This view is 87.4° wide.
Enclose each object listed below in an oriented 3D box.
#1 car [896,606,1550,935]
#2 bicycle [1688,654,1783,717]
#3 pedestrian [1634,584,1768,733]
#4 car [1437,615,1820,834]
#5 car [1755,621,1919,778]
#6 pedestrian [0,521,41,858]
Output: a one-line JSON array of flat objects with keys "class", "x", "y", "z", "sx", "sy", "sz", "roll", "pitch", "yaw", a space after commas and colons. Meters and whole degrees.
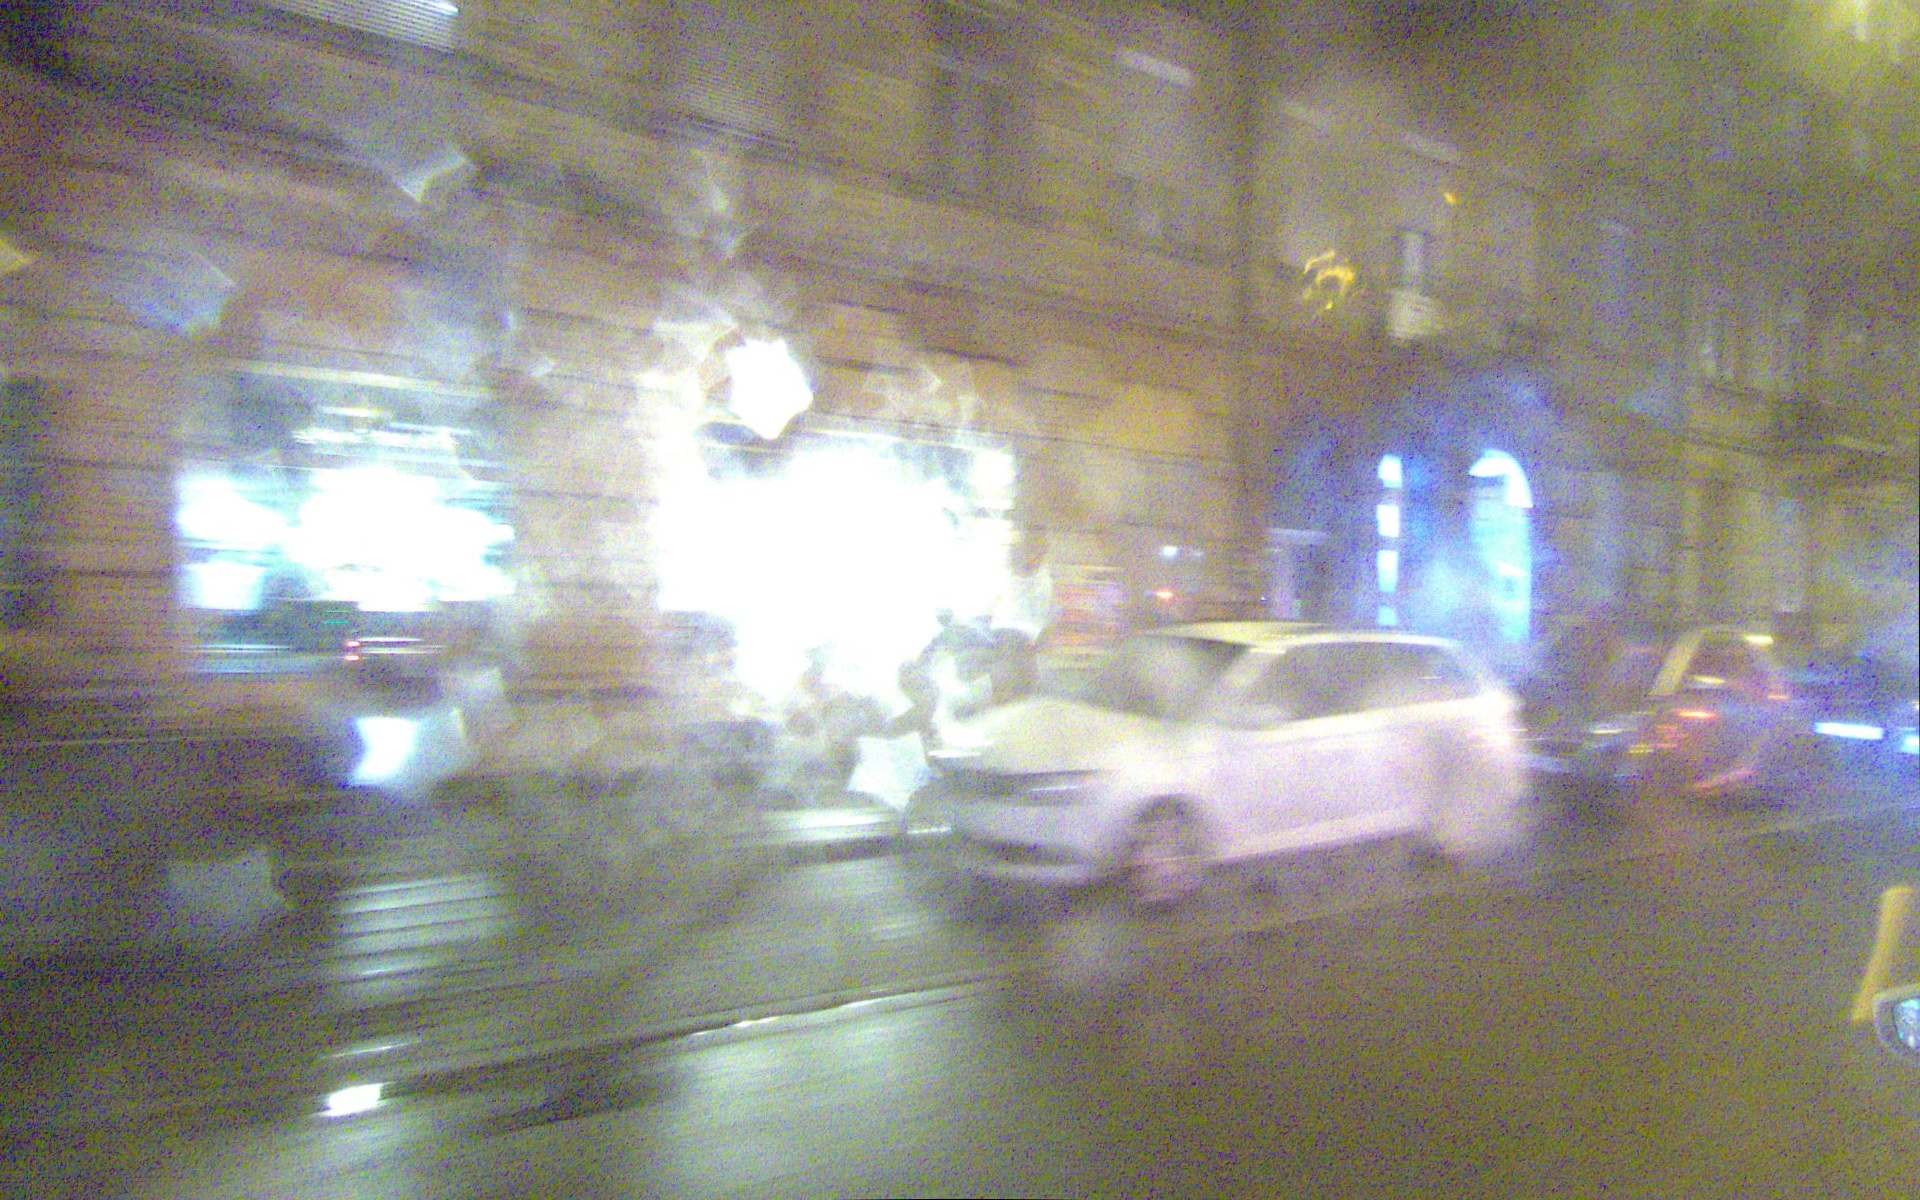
[{"class": "car", "x": 1.744, "y": 0.865, "z": 6.420, "sx": 3.973, "sy": 1.483, "sz": 1.580, "roll": 1, "pitch": 3, "yaw": -28}, {"class": "bicycle", "x": 12.653, "y": 1.403, "z": 16.370, "sx": 1.989, "sy": 0.970, "sz": 0.447, "roll": 3, "pitch": -2, "yaw": -28}, {"class": "pedestrian", "x": 9.957, "y": 0.760, "z": 13.528, "sx": 0.963, "sy": 1.890, "sz": 1.029, "roll": 2, "pitch": 1, "yaw": -22}, {"class": "car", "x": 5.681, "y": 0.933, "z": 8.555, "sx": 2.752, "sy": 1.530, "sz": 1.580, "roll": 1, "pitch": 0, "yaw": -28}, {"class": "car", "x": 10.532, "y": 1.011, "z": 11.014, "sx": 3.459, "sy": 1.468, "sz": 1.580, "roll": 1, "pitch": 0, "yaw": -28}, {"class": "pedestrian", "x": -5.526, "y": 0.464, "z": 5.105, "sx": 1.001, "sy": 1.789, "sz": 0.802, "roll": 2, "pitch": 1, "yaw": -22}]
